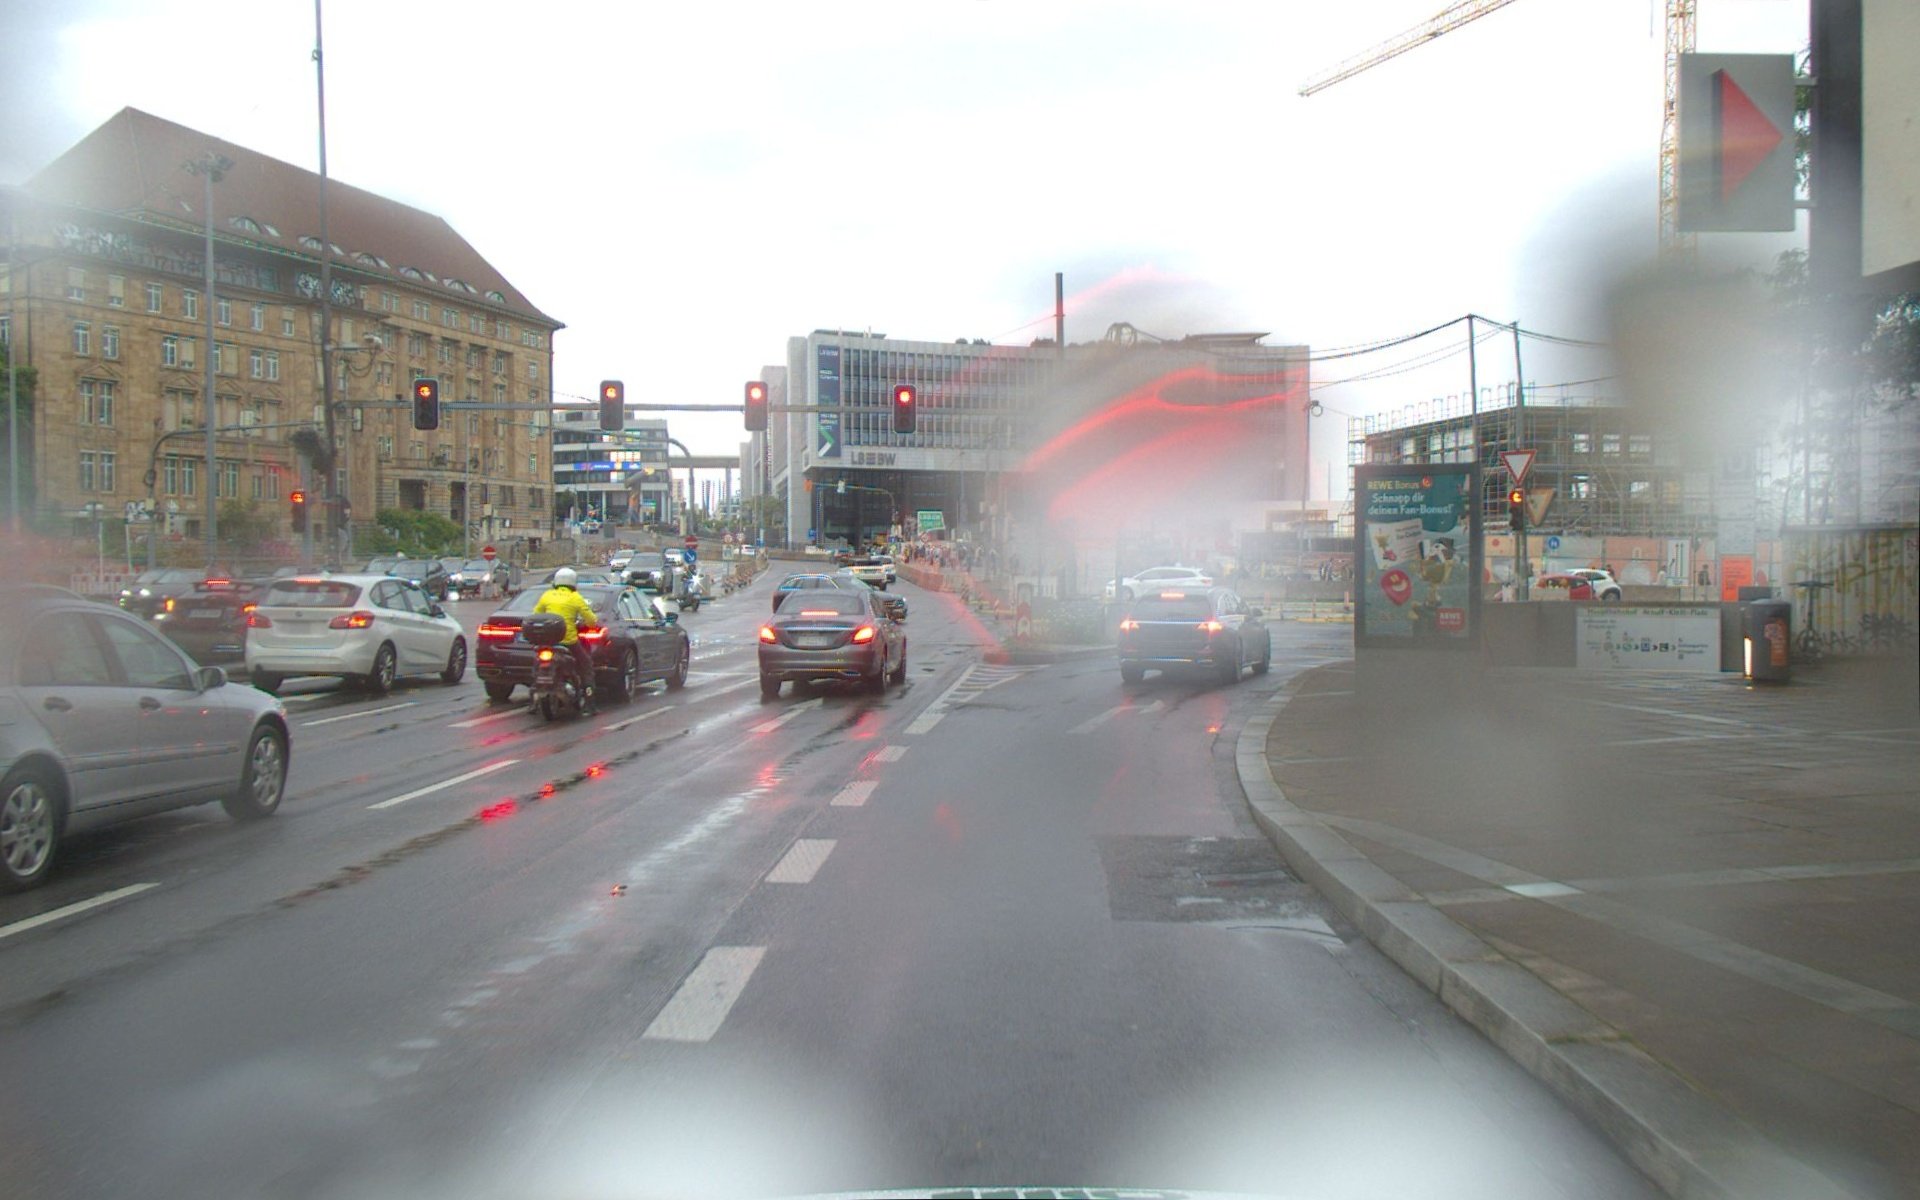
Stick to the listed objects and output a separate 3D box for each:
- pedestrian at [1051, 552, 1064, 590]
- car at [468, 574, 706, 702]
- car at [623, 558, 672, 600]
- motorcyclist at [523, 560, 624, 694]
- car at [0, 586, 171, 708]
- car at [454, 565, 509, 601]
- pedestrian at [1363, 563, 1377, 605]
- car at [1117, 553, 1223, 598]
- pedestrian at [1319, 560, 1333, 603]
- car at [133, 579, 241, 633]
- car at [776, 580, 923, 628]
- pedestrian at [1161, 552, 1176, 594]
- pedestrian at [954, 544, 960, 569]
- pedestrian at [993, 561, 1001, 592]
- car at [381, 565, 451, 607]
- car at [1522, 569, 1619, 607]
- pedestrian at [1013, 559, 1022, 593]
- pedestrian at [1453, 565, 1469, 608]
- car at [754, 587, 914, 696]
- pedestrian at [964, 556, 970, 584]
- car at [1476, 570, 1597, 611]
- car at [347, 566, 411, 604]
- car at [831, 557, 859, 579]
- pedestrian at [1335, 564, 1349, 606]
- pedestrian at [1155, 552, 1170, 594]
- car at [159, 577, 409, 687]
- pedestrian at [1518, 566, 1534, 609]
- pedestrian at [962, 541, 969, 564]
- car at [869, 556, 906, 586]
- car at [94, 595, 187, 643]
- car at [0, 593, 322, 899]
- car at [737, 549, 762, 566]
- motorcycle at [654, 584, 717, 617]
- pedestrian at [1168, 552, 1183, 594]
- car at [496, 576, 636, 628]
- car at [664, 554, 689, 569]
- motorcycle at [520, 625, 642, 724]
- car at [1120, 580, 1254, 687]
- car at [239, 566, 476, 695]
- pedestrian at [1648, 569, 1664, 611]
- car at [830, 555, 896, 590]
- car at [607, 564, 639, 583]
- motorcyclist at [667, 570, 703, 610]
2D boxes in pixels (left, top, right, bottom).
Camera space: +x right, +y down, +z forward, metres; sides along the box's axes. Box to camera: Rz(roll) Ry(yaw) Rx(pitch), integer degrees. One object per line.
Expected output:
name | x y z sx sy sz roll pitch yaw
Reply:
pedestrian | 4.953 -1.474 84.169 0.358 1.931 0.569 1 -1 -37
car | -4.965 0.478 22.801 1.847 1.541 5.004 1 0 4
car | -14.518 -0.952 77.040 1.956 1.829 5.093 1 0 -8
motorcyclist | -4.470 0.304 19.205 0.922 1.501 1.100 1 0 -2
car | -11.740 0.529 20.489 1.745 1.397 3.995 1 0 5
car | -22.270 -0.779 77.121 1.664 1.601 3.996 1 0 -5
pedestrian | 18.867 -0.733 76.151 0.562 1.931 0.362 1 -1 2
car | 8.834 -1.021 69.373 4.310 1.797 2.002 1 0 9
pedestrian | 16.690 -0.847 75.507 0.562 1.931 0.362 1 -1 5
car | -23.719 0.162 50.892 1.664 1.545 3.872 -1 0 -3
car | -3.372 0.114 50.336 4.019 1.368 1.998 1 0 27
pedestrian | 9.659 -1.240 76.604 0.359 1.931 0.568 -1 0 -41
pedestrian | -0.246 -3.400 129.252 0.354 1.931 0.575 1 -1 -8
pedestrian | 2.350 -1.494 104.645 0.355 1.931 0.575 1 -1 -12
car | -21.825 -0.545 66.531 1.766 1.601 4.070 1 0 -5
car | 25.431 -0.487 69.022 3.472 1.499 1.787 1 0 7
pedestrian | 3.359 -1.408 96.734 0.355 1.931 0.574 1 -1 -16
pedestrian | 22.813 -0.605 75.318 0.563 1.931 0.362 1 -1 -1
car | -1.757 0.561 24.399 1.746 1.427 4.488 1 0 3
pedestrian | 0.499 -2.104 116.005 0.354 1.931 0.575 1 -1 -8
car | 19.444 -0.310 55.834 3.468 1.327 1.662 1 0 -9
car | -25.330 -0.627 72.175 1.664 1.601 3.996 1 0 -5
car | -11.429 -3.173 163.679 1.961 2.049 3.982 1 0 -16
pedestrian | 17.887 -0.700 77.404 0.563 1.931 0.362 1 -1 -1
pedestrian | 9.371 -1.254 76.411 0.360 1.931 0.567 1 -1 -45
car | -10.904 0.489 27.026 1.745 1.627 4.076 1 0 13
pedestrian | 25.606 -0.565 74.866 0.563 1.931 0.362 1 -1 -1
pedestrian | 0.455 -4.068 141.683 0.509 1.931 0.575 1 -1 -8
car | -4.493 -1.800 101.946 1.697 1.668 3.425 1 3 -12
car | -28.235 0.623 57.084 1.665 1.545 3.683 -1 0 -6
car | -5.310 0.680 9.229 1.697 1.428 4.383 1 0 1
car | -24.770 -4.950 194.329 1.966 1.847 3.972 1 0 -23
motorcycle | -9.730 0.029 58.540 2.095 1.128 0.850 1 0 28
pedestrian | 10.031 -1.241 76.954 0.359 1.931 0.568 1 -1 -42
car | -12.194 0.062 51.166 4.025 1.533 1.995 1 0 33
car | -25.860 -3.503 150.959 1.732 1.282 3.998 1 0 -3
motorcycle | -4.338 0.829 19.108 0.923 1.006 2.293 1 0 -2
car | 3.731 0.510 26.701 1.851 1.571 3.997 1 0 12
car | -8.363 0.401 23.337 1.696 1.644 4.001 1 0 3
pedestrian | 32.355 -0.446 76.892 0.563 1.931 0.362 1 -1 -3
car | -4.881 -1.348 82.740 1.968 1.668 3.969 1 0 -25
car | -25.871 -2.024 126.987 1.732 1.282 4.192 1 0 -3
motorcyclist | -9.718 -0.358 58.545 0.926 1.382 0.848 1 -1 26
